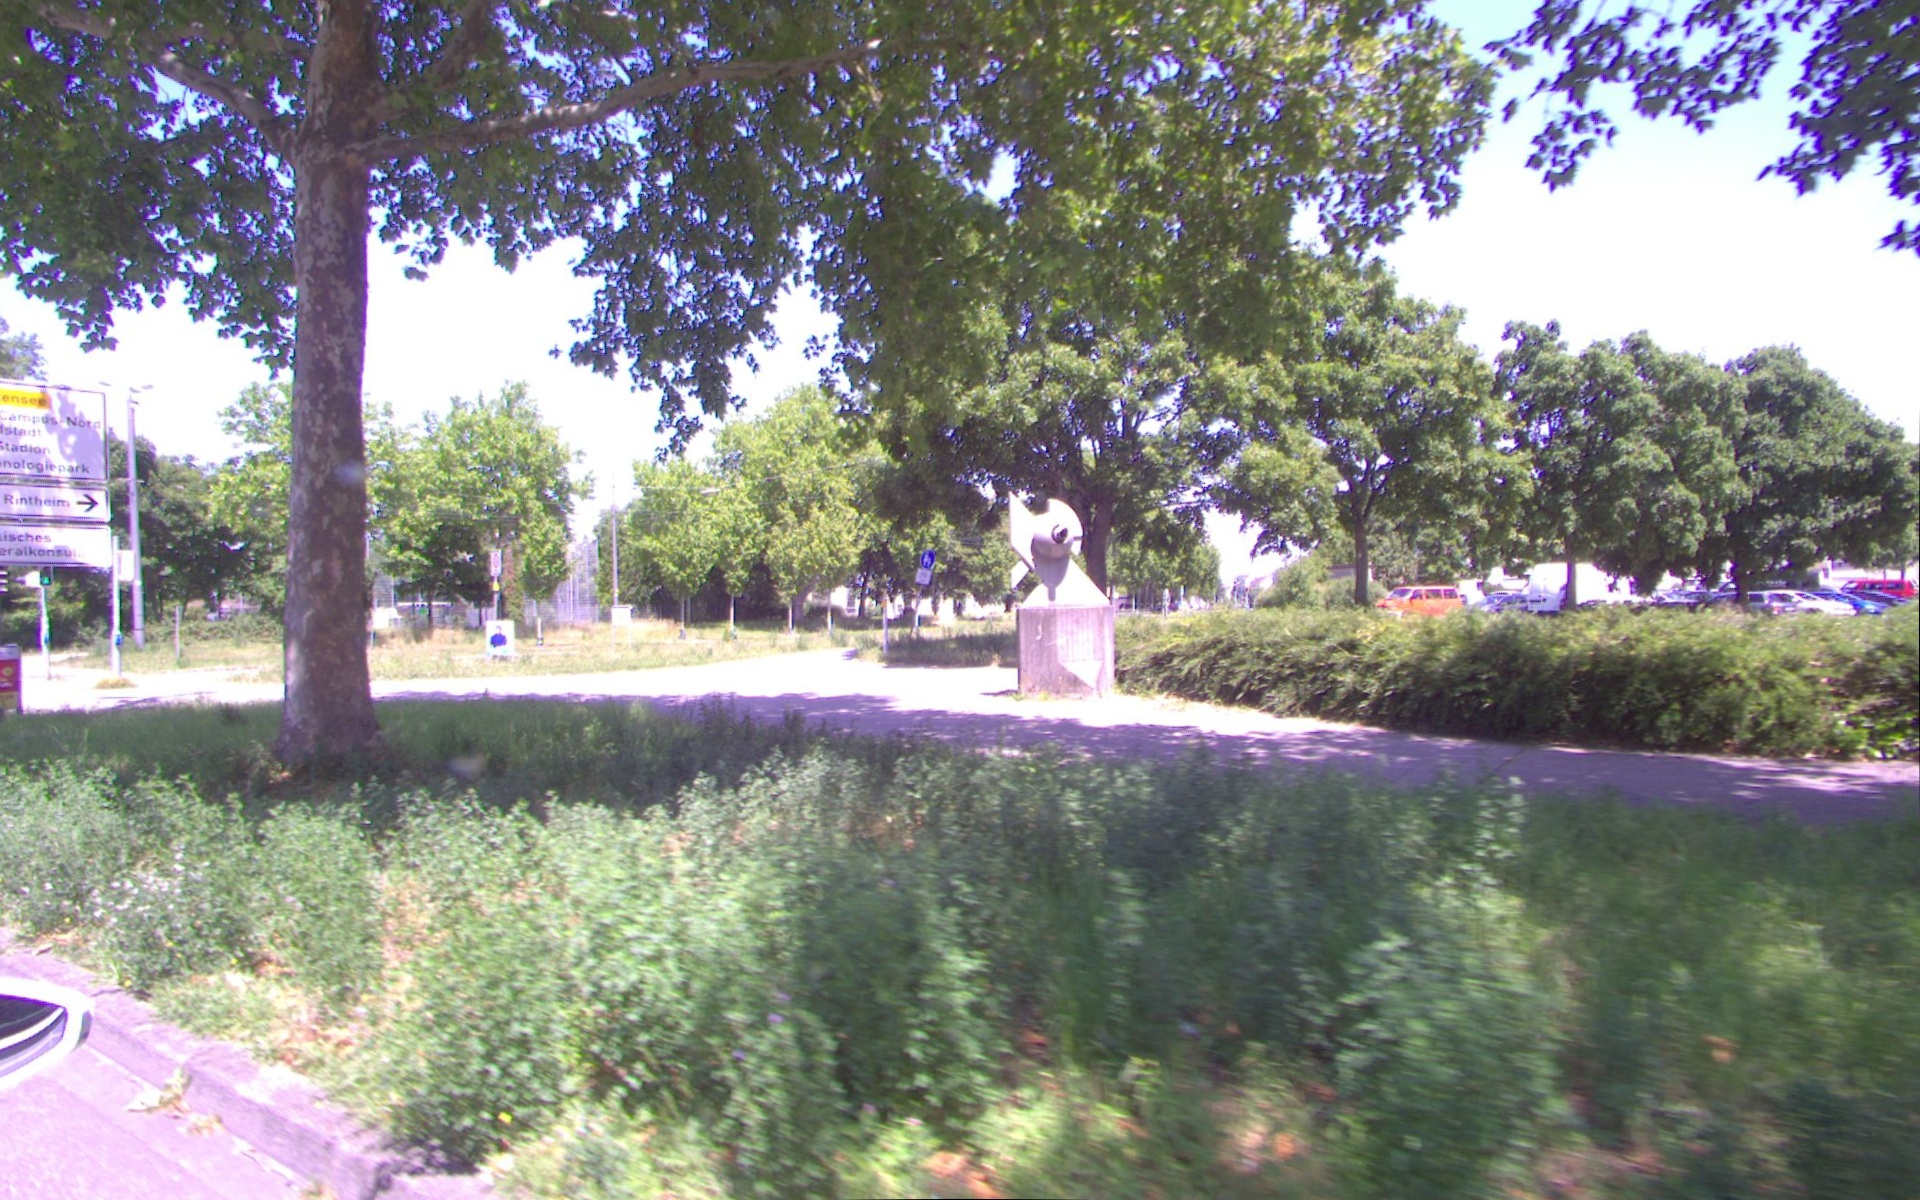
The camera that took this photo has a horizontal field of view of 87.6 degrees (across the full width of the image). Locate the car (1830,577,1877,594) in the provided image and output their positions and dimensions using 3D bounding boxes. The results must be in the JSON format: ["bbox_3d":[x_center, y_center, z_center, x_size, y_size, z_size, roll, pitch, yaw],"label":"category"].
[{"bbox_3d":[93.042,-1.494,104.317,3.309,1.639,1.439,-1,0,18],"label":"car"}]

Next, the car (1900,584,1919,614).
[{"bbox_3d":[44.937,-0.072,45.083,1.690,1.383,3.414,-1,-1,-25],"label":"car"}]

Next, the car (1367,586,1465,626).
[{"bbox_3d":[24.126,0.323,53.028,4.582,2.029,2.069,-1,0,-19],"label":"car"}]

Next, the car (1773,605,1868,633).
[{"bbox_3d":[32.747,0.713,38.142,0.938,1.000,2.590,-1,-1,-25],"label":"car"}]

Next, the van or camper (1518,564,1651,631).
[{"bbox_3d":[27.303,-0.106,43.794,5.039,2.787,2.199,-1,0,-18],"label":"van or camper"}]

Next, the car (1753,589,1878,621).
[{"bbox_3d":[34.686,0.217,40.704,1.595,1.241,3.560,-1,0,-25],"label":"car"}]

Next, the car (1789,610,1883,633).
[{"bbox_3d":[33.849,0.841,38.748,0.938,0.852,2.590,-1,-1,-25],"label":"car"}]

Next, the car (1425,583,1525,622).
[{"bbox_3d":[24.218,0.118,47.117,4.000,1.740,1.952,-1,0,-18],"label":"car"}]

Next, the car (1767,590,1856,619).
[{"bbox_3d":[34.648,0.199,40.791,0.991,1.141,2.590,-1,0,-25],"label":"car"}]

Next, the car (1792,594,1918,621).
[{"bbox_3d":[37.020,0.314,41.523,1.655,1.048,3.553,-1,-1,-25],"label":"car"}]

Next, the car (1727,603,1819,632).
[{"bbox_3d":[31.123,0.673,38.395,0.938,1.049,2.590,-1,0,-25],"label":"car"}]

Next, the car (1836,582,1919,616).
[{"bbox_3d":[57.431,-0.019,62.285,1.935,2.040,3.987,-1,0,-23],"label":"car"}]

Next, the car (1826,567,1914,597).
[{"bbox_3d":[104.169,-1.987,114.722,3.155,3.223,7.144,-1,0,-41],"label":"car"}]

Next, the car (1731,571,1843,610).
[{"bbox_3d":[46.683,-0.508,56.639,2.209,2.040,4.409,-1,0,-22],"label":"car"}]
